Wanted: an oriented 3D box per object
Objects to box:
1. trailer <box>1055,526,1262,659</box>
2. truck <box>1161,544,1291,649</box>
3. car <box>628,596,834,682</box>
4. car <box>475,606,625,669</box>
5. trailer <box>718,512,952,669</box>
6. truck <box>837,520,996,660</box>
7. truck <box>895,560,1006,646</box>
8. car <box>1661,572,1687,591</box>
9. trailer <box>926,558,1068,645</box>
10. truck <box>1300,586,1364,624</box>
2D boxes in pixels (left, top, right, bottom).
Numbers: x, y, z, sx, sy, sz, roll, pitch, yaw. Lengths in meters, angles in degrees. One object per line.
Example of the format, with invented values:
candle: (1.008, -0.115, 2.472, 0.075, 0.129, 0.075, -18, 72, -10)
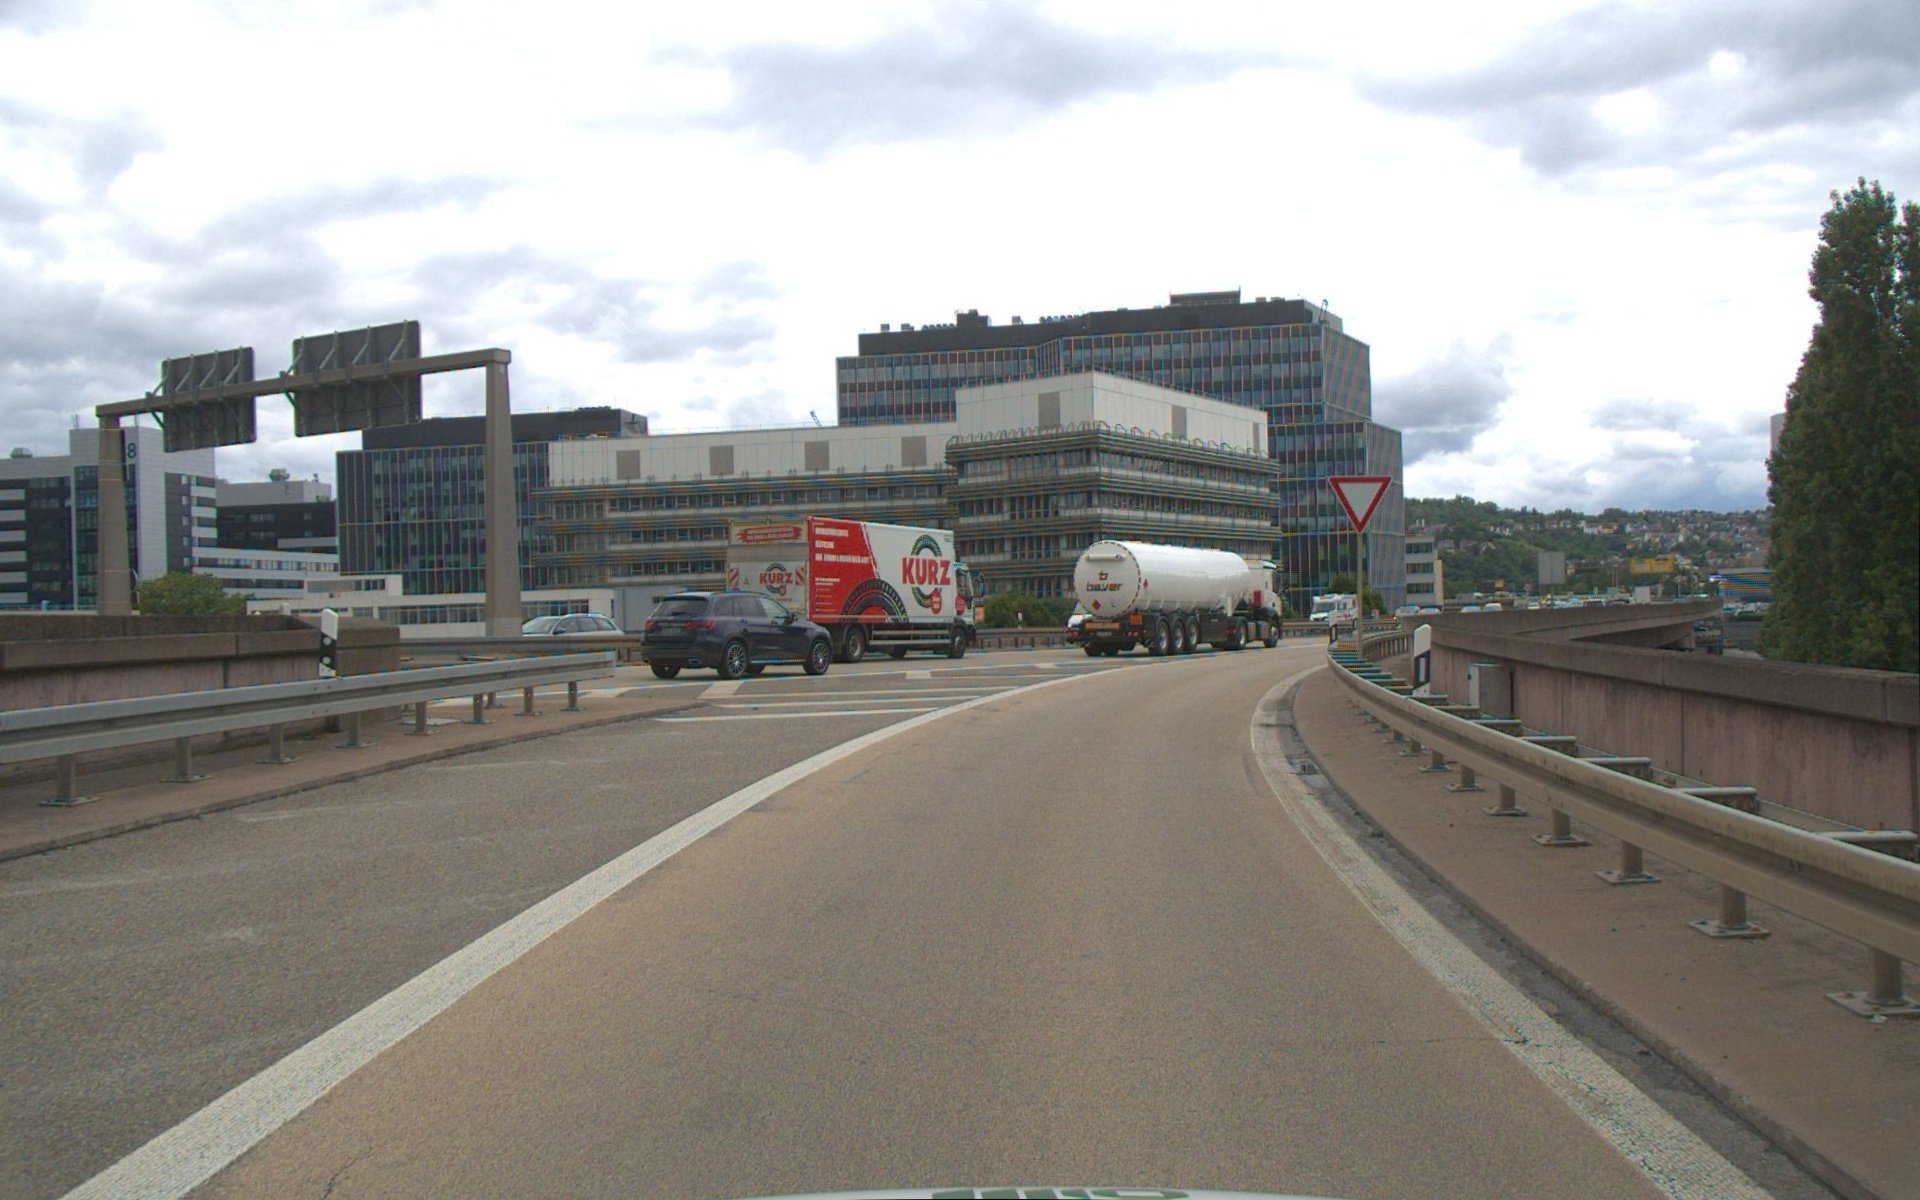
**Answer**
trailer: (6.671, -0.215, 53.462, 2.738, 3.803, 11.139, -2, -1, 28)
truck: (9.557, -0.107, 58.886, 2.716, 3.490, 5.957, -2, -1, 28)
car: (-4.388, 0.719, 32.301, 1.811, 1.531, 4.259, 1, 0, 28)
car: (-10.655, 0.953, 43.232, 1.613, 1.545, 3.833, -2, -1, 29)
trailer: (-3.119, -0.218, 43.626, 2.639, 3.755, 7.303, -2, -1, 28)
truck: (-1.185, -0.246, 47.319, 2.639, 3.755, 4.433, -2, -1, 28)
truck: (-0.370, 0.122, 71.493, 2.689, 3.541, 5.100, -2, -1, 27)
car: (63.284, -1.642, 146.599, 1.663, 1.578, 3.634, -2, -2, 30)
trailer: (1.850, 0.057, 75.911, 2.681, 3.700, 9.345, -2, -1, 27)
truck: (27.677, 0.334, 122.874, 2.444, 2.672, 7.333, -2, -1, 30)
